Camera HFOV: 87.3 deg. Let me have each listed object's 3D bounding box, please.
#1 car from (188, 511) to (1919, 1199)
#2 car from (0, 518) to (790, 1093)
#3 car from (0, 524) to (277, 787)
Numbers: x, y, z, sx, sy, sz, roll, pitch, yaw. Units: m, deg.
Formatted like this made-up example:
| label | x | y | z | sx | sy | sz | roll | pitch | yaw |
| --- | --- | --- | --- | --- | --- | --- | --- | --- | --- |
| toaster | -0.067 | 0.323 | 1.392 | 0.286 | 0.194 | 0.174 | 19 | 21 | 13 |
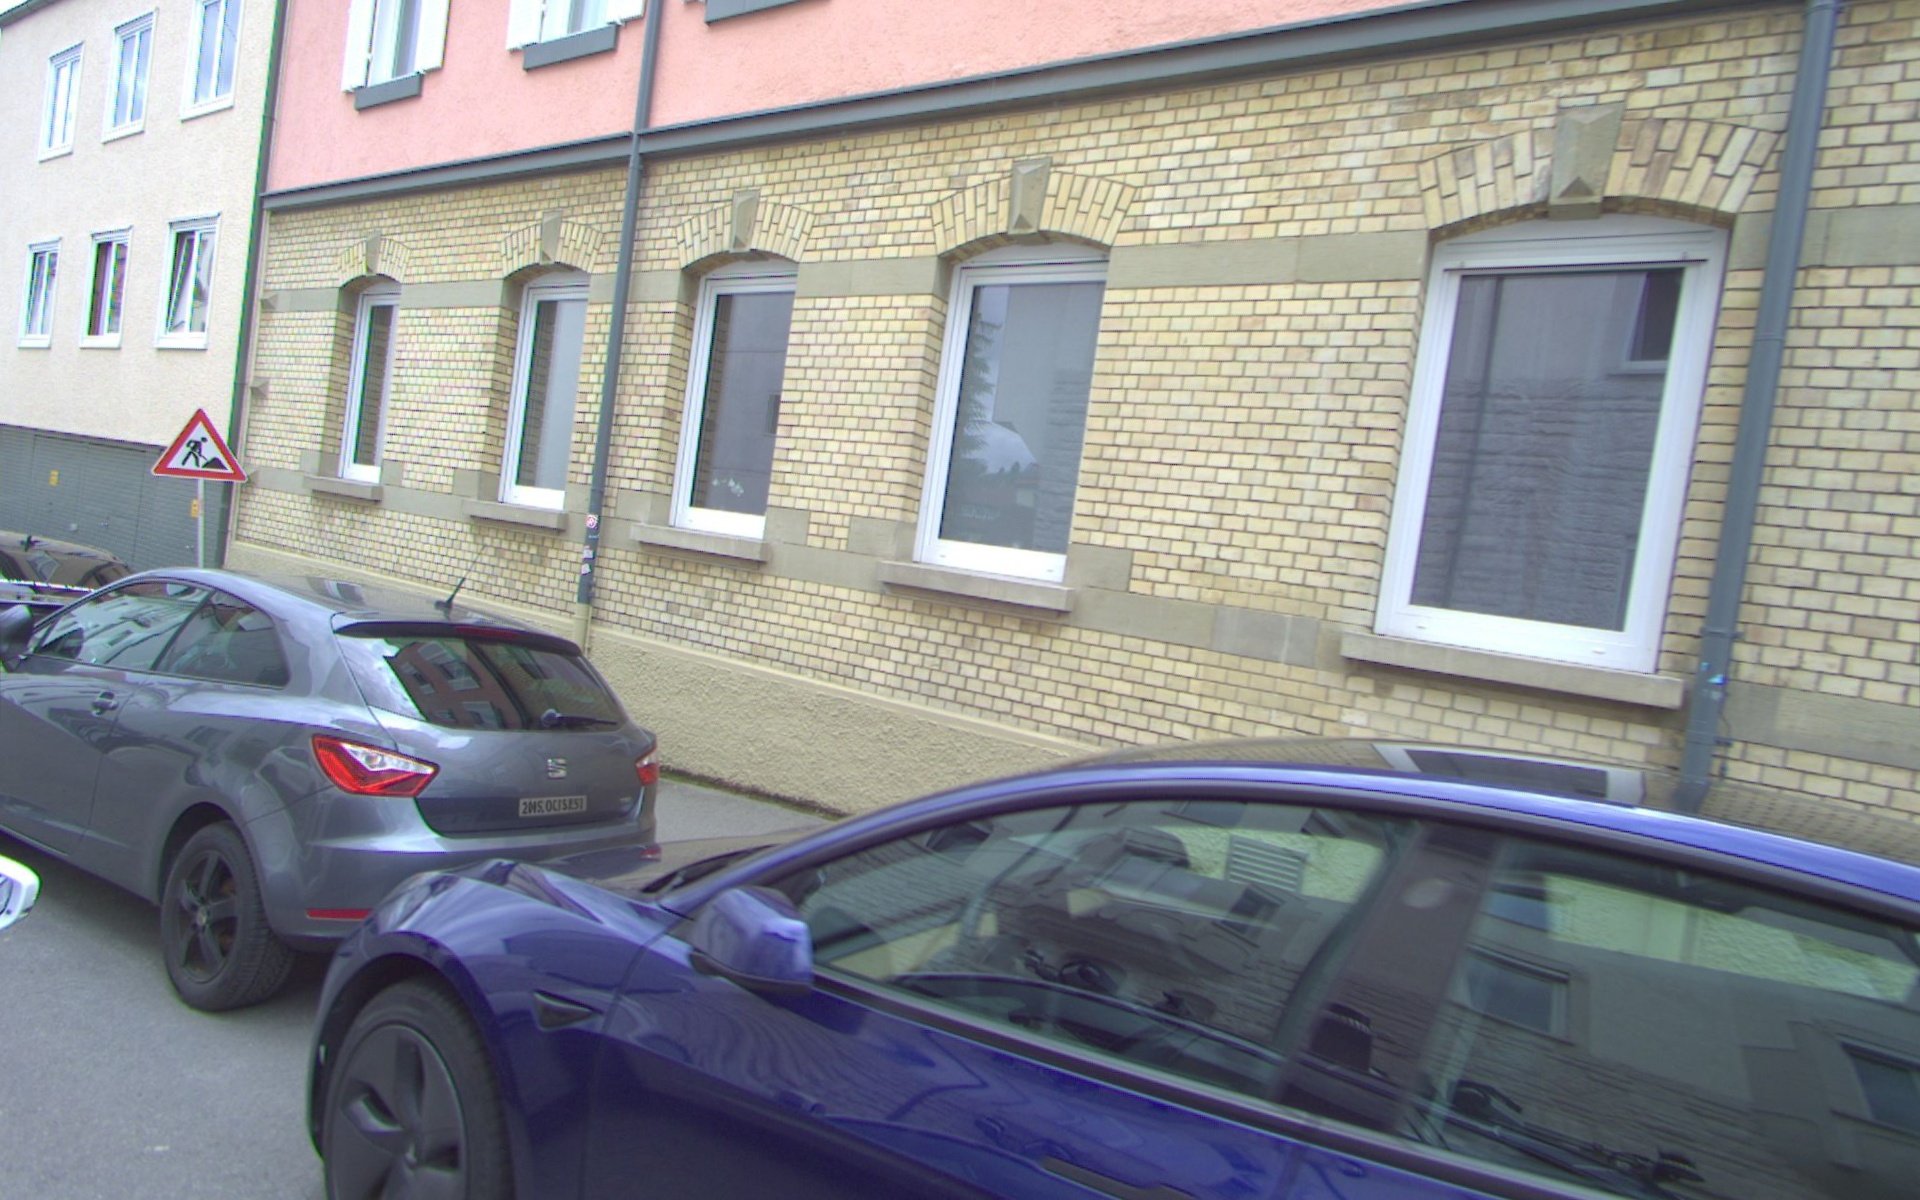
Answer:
| label | x | y | z | sx | sy | sz | roll | pitch | yaw |
| --- | --- | --- | --- | --- | --- | --- | --- | --- | --- |
| car | 0.559 | 0.800 | 1.991 | 4.221 | 1.420 | 1.856 | 7 | -2 | 32 |
| car | -2.969 | 0.548 | 4.563 | 3.898 | 1.420 | 1.857 | 7 | -2 | 29 |
| car | -6.910 | 0.165 | 6.892 | 4.499 | 1.419 | 1.856 | 5 | -2 | 31 |
